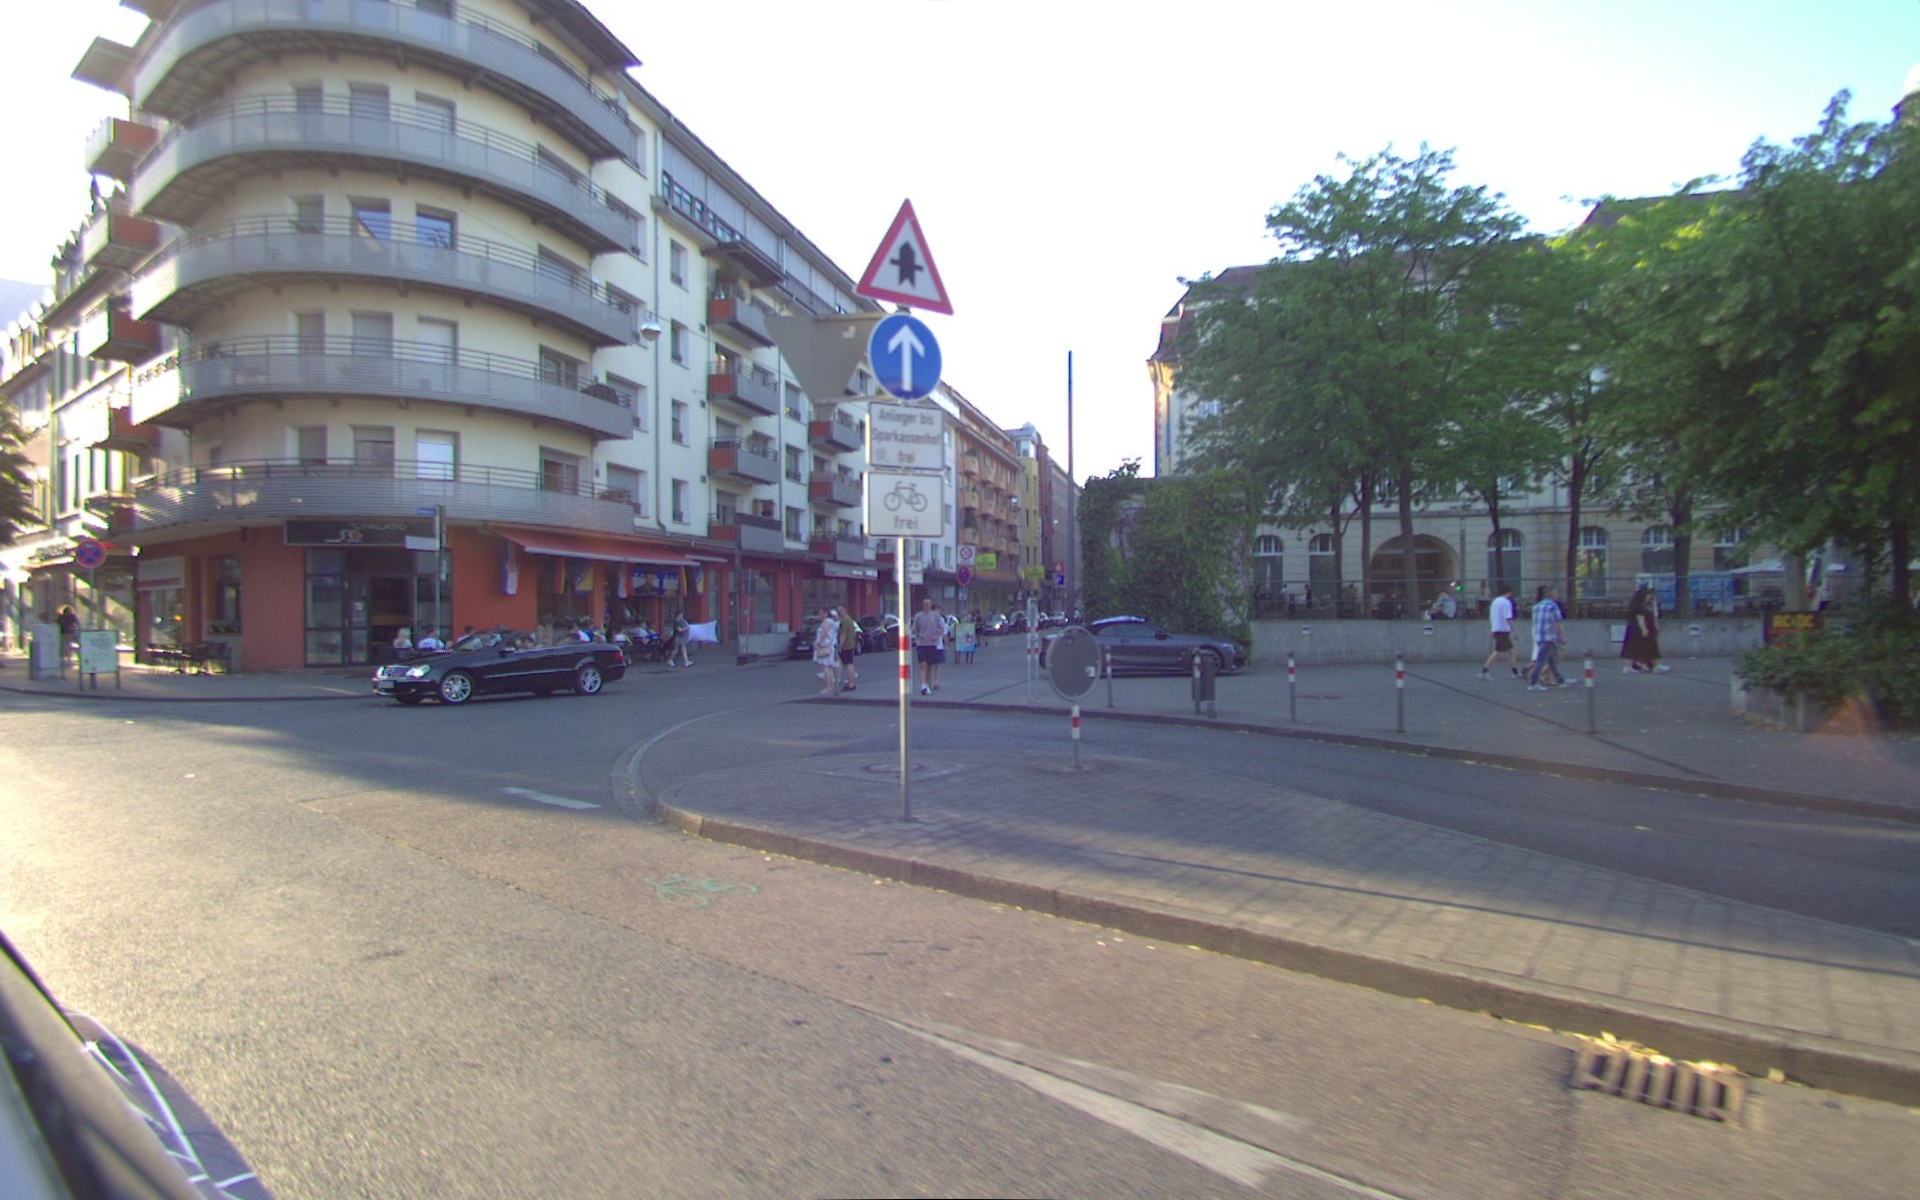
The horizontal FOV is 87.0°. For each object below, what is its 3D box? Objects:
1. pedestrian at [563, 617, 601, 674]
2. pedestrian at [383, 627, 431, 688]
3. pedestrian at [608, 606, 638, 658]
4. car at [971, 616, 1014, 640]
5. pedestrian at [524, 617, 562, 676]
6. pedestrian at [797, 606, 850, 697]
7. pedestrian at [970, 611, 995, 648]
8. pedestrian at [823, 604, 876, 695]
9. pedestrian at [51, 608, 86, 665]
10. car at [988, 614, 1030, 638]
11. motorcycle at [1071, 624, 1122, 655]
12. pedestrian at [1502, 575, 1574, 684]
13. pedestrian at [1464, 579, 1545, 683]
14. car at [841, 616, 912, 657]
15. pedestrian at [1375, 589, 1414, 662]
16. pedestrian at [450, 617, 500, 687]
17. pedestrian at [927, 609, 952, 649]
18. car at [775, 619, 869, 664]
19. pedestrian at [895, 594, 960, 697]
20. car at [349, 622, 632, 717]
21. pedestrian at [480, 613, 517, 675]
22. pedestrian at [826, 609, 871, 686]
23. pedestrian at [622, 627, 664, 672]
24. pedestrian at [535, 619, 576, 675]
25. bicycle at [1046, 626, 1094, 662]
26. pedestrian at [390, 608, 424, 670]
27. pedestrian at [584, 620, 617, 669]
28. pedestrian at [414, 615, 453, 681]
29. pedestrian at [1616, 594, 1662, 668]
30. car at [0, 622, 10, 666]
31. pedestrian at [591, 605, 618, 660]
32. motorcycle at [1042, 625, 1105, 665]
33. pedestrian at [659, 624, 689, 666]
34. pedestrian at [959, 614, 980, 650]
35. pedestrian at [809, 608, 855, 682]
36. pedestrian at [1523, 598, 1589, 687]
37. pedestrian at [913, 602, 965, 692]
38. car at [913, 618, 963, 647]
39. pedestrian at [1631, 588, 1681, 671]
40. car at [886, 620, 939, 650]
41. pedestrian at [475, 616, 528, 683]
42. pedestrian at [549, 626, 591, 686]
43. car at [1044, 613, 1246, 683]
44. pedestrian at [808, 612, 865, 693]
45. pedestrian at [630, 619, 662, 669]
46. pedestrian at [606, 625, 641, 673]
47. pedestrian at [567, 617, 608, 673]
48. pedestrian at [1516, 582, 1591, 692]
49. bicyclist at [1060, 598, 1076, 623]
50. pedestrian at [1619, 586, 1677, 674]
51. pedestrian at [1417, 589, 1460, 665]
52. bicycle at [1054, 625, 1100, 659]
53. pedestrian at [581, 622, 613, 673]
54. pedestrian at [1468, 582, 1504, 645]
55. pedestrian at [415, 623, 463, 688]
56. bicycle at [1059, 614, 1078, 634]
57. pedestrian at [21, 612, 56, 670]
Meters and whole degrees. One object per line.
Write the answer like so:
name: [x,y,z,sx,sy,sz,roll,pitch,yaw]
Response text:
pedestrian: [-10.453,1.243,27.989,0.643,1.539,0.698,3,-1,10]
pedestrian: [-12.430,1.276,22.769,0.674,1.291,0.970,0,1,-11]
pedestrian: [-11.418,1.071,34.252,0.711,1.734,0.666,-1,-1,13]
car: [2.224,1.885,68.054,1.882,1.488,4.278,-2,-1,16]
pedestrian: [-11.331,1.248,27.533,0.669,1.547,0.652,1,-1,12]
pedestrian: [-2.808,1.052,20.879,0.709,1.816,0.877,-2,-2,19]
pedestrian: [1.059,1.390,47.984,0.829,1.740,0.912,-2,-1,27]
pedestrian: [-2.334,1.034,21.463,0.711,1.891,0.844,-3,-2,29]
pedestrian: [-31.401,1.272,35.654,0.802,1.963,0.722,-1,-1,33]
car: [3.597,1.865,73.588,1.984,1.628,4.340,-2,-1,18]
motorcycle: [4.916,1.448,36.625,1.829,1.077,0.525,-3,-2,43]
pedestrian: [10.334,0.528,18.108,0.768,1.889,0.717,-1,-2,-23]
pedestrian: [10.183,0.569,18.955,0.877,1.867,0.985,-2,-2,-2]
car: [-3.638,1.579,44.848,1.867,1.712,4.118,-2,-1,14]
pedestrian: [10.986,0.637,25.597,0.755,1.795,0.793,-1,-1,16]
pedestrian: [-11.359,1.198,23.720,0.712,1.547,0.682,-1,4,31]
pedestrian: [-0.979,1.399,48.792,0.991,1.841,0.948,-2,-2,-13]
car: [-5.232,1.544,39.019,1.863,1.564,4.606,-2,-1,16]
pedestrian: [-0.612,0.865,19.286,0.976,1.898,0.885,-2,-2,16]
car: [-8.545,1.181,18.851,1.805,1.418,4.565,0,0,33]
pedestrian: [-11.824,1.133,25.910,0.638,1.547,0.753,0,-2,-43]
pedestrian: [-2.665,1.127,24.269,0.805,1.807,0.733,-2,-2,16]
pedestrian: [-9.556,1.479,30.482,0.876,1.315,0.843,0,0,34]
pedestrian: [-11.276,1.301,28.235,0.762,1.515,0.780,-1,-1,12]
bicycle: [3.536,1.416,32.540,1.482,1.096,0.546,-2,-2,11]
pedestrian: [-16.228,1.146,29.691,0.606,1.790,0.615,-1,-1,12]
pedestrian: [-10.797,1.324,30.421,0.707,1.432,0.599,-2,-2,14]
pedestrian: [-12.647,1.148,24.325,0.702,1.547,0.856,-1,-2,-20]
pedestrian: [16.310,0.750,24.336,0.617,1.740,0.800,-1,-1,13]
car: [-35.366,1.543,34.282,1.814,1.553,4.390,-1,-1,36]
pedestrian: [-11.606,1.054,33.050,0.606,1.752,0.615,-1,-1,13]
motorcycle: [3.458,1.349,30.782,1.798,1.135,0.538,-1,-2,-16]
pedestrian: [-9.204,1.432,32.576,0.839,1.287,0.716,0,1,-8]
pedestrian: [0.451,1.529,48.580,0.910,1.740,0.701,-1,-1,10]
pedestrian: [-3.196,1.113,25.330,0.844,1.807,0.864,-2,-2,16]
pedestrian: [10.269,0.726,17.452,0.704,1.497,0.605,-1,-2,-14]
pedestrian: [-0.453,0.980,21.158,0.970,1.807,0.891,-2,-2,-5]
car: [-1.203,1.790,56.503,1.752,1.488,3.928,-2,-1,15]
pedestrian: [13.366,0.568,19.456,0.588,1.554,0.675,-2,-2,22]
car: [-2.379,1.761,51.269,1.735,1.414,3.952,-2,-1,12]
pedestrian: [-11.039,1.170,24.391,0.708,1.547,0.849,3,0,16]
pedestrian: [-10.469,1.491,27.195,0.707,1.547,0.757,3,-1,10]
car: [4.257,1.116,23.740,4.398,1.441,2.101,-2,-1,9]
pedestrian: [-2.679,1.137,21.950,0.882,1.681,0.705,-5,-1,39]
pedestrian: [-10.057,1.397,32.467,0.839,1.547,0.716,-2,-2,-8]
pedestrian: [-9.761,1.406,29.390,0.648,1.355,0.746,1,-1,12]
pedestrian: [-10.621,1.274,28.855,0.844,1.547,0.677,-2,-2,11]
pedestrian: [9.782,0.603,16.693,0.676,1.759,0.718,-1,-2,-15]
bicyclist: [8.892,0.875,83.307,1.037,2.029,1.176,-1,-1,16]
pedestrian: [12.927,0.558,19.037,0.727,1.594,0.792,-3,-2,27]
pedestrian: [11.946,0.667,25.314,0.696,1.833,1.118,-1,-1,13]
bicycle: [3.920,1.414,33.971,1.482,1.096,0.409,-2,-2,11]
pedestrian: [-10.580,1.376,29.516,0.661,1.445,0.559,1,-1,12]
pedestrian: [17.370,0.435,33.435,0.826,2.029,1.060,-1,-1,17]
pedestrian: [-11.646,1.230,22.642,0.758,1.392,0.841,0,0,-11]
bicycle: [8.958,1.962,83.359,1.030,1.533,2.805,-1,-1,18]
pedestrian: [-31.992,1.421,35.137,0.738,1.963,0.722,-1,-1,33]
